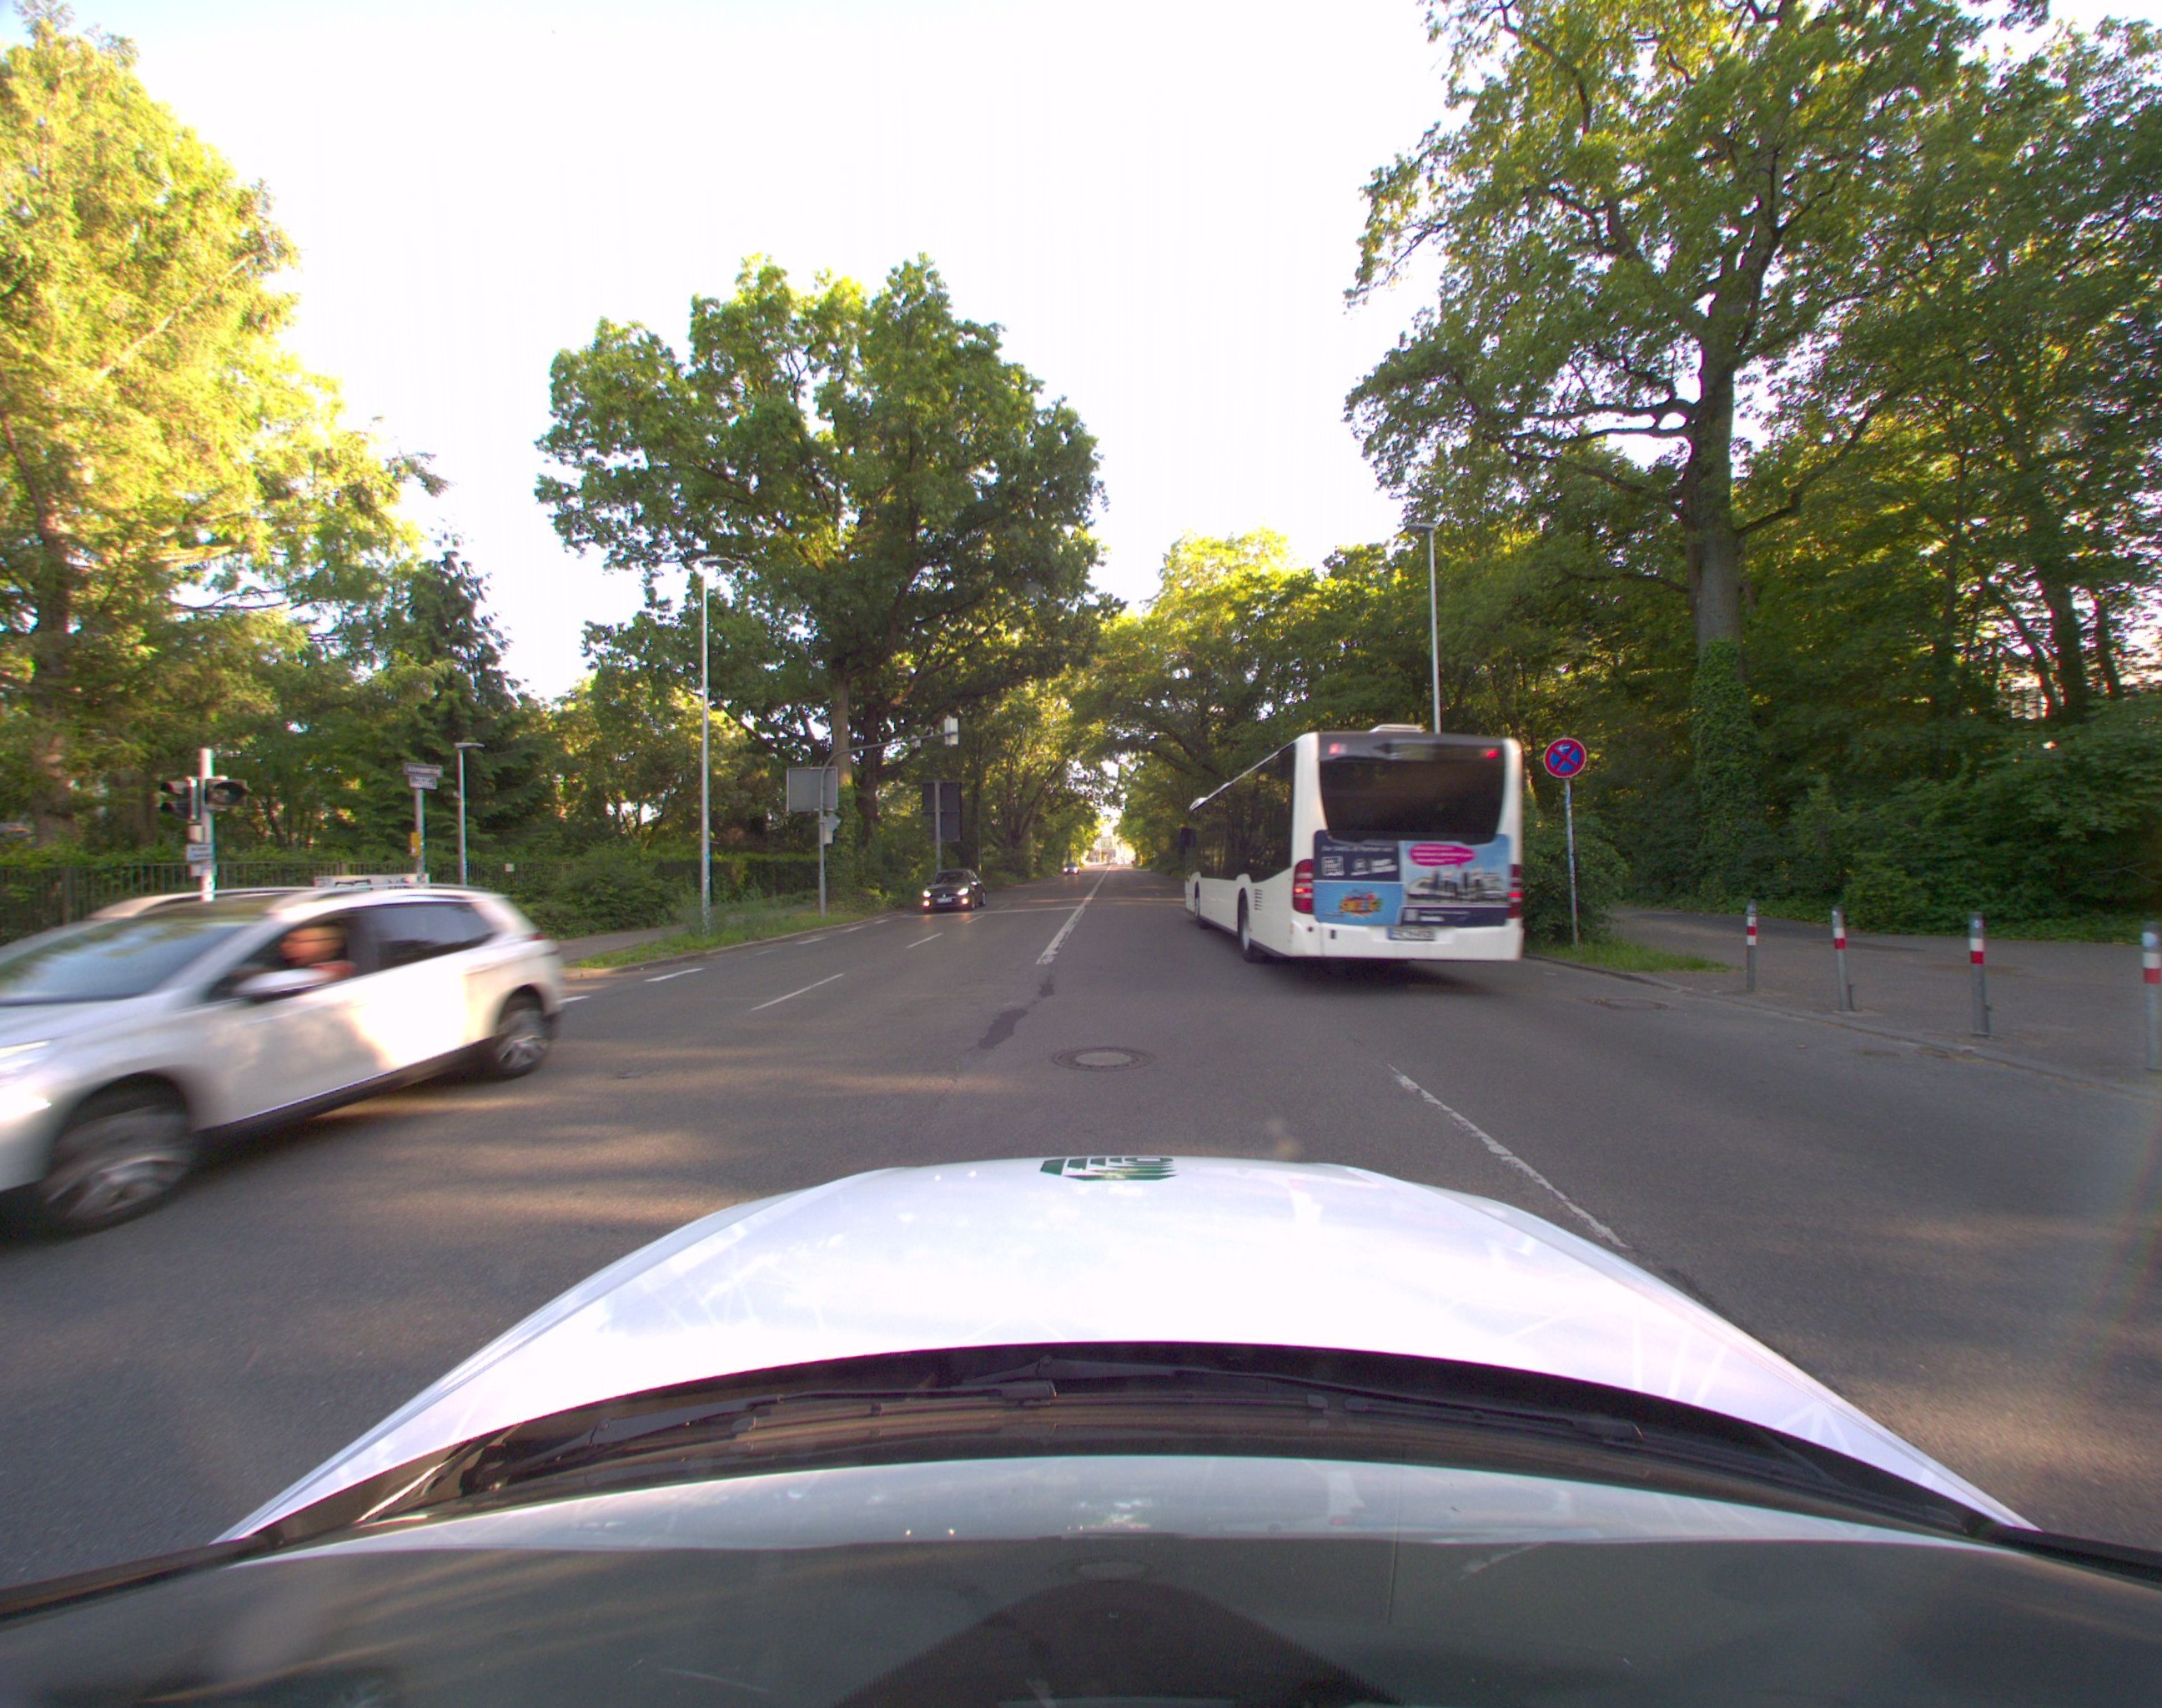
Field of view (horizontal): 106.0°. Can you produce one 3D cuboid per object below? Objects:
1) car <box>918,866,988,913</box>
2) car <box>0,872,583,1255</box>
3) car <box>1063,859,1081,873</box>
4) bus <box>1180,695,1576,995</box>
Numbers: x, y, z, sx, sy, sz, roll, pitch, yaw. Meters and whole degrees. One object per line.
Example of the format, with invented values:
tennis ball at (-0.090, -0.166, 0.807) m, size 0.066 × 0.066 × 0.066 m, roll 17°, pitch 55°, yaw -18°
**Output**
car at (-4.518, 1.204, 29.153) m, size 1.701 × 1.453 × 3.641 m, roll -4°, pitch -1°, yaw 2°
car at (-5.267, 0.960, 5.118) m, size 1.670 × 1.524 × 3.903 m, roll -4°, pitch -1°, yaw 2°
car at (-1.045, 1.471, 98.865) m, size 1.800 × 1.580 × 4.321 m, roll -4°, pitch -1°, yaw 2°
bus at (3.850, -0.052, 14.666) m, size 3.000 × 3.087 × 12.275 m, roll -1°, pitch 0°, yaw 2°
